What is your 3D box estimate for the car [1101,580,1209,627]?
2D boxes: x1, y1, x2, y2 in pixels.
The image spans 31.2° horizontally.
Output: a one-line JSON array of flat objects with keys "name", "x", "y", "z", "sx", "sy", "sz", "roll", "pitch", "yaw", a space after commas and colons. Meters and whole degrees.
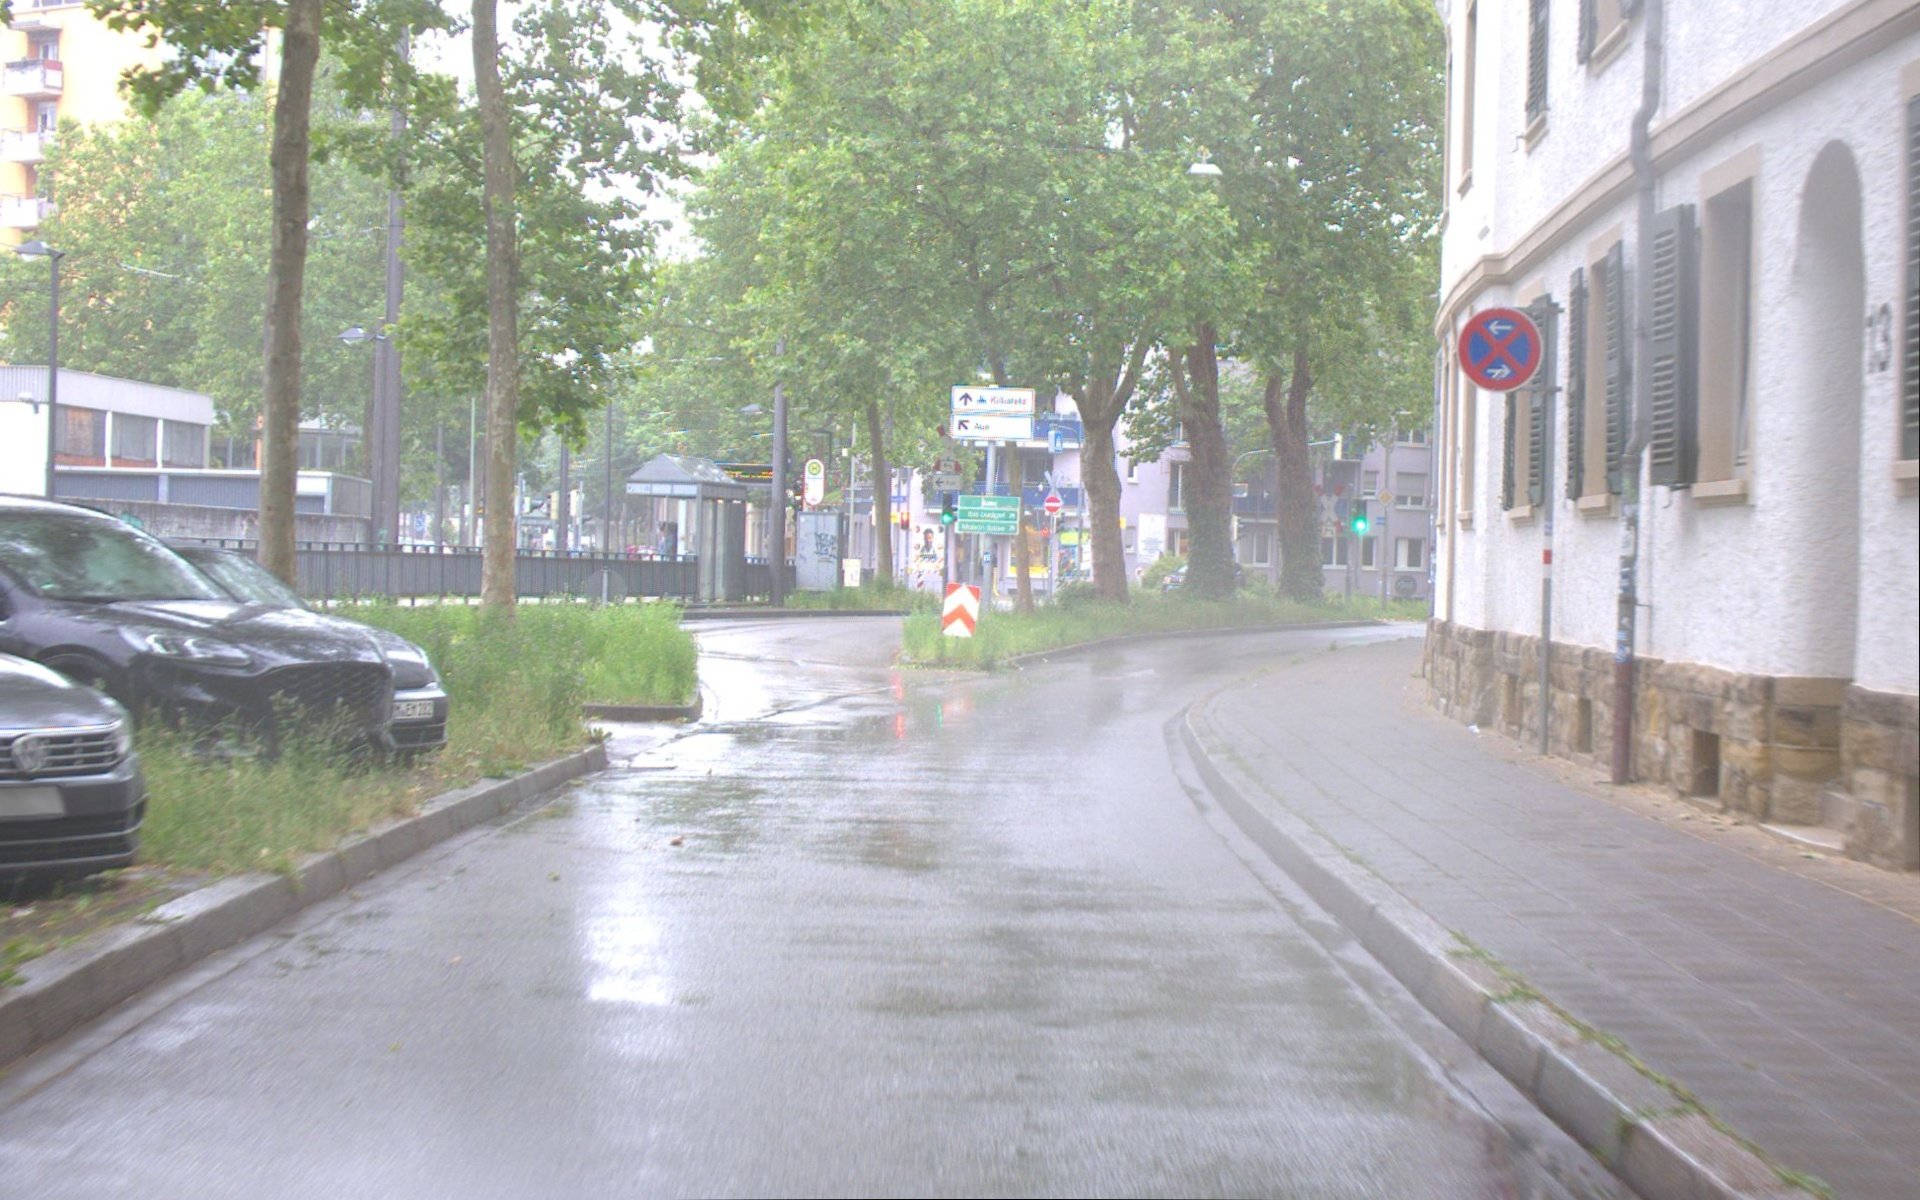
[{"name": "car", "x": 7.763, "y": 0.150, "z": 136.766, "sx": 3.988, "sy": 1.592, "sz": 1.999, "roll": 4, "pitch": -1, "yaw": -43}]

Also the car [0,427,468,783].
[{"name": "car", "x": -5.048, "y": -0.035, "z": 18.500, "sx": 4.525, "sy": 1.709, "sz": 1.957, "roll": 1, "pitch": 2, "yaw": 30}]

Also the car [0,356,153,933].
[{"name": "car", "x": -4.809, "y": 0.019, "z": 10.122, "sx": 4.465, "sy": 1.591, "sz": 1.920, "roll": 3, "pitch": 1, "yaw": 26}]

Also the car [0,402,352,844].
[{"name": "car", "x": -4.811, "y": 0.040, "z": 13.673, "sx": 4.554, "sy": 1.516, "sz": 1.920, "roll": 1, "pitch": 0, "yaw": 31}]

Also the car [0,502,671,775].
[{"name": "car", "x": -4.126, "y": 0.161, "z": 21.104, "sx": 4.358, "sy": 1.507, "sz": 1.957, "roll": 1, "pitch": 2, "yaw": 30}]
